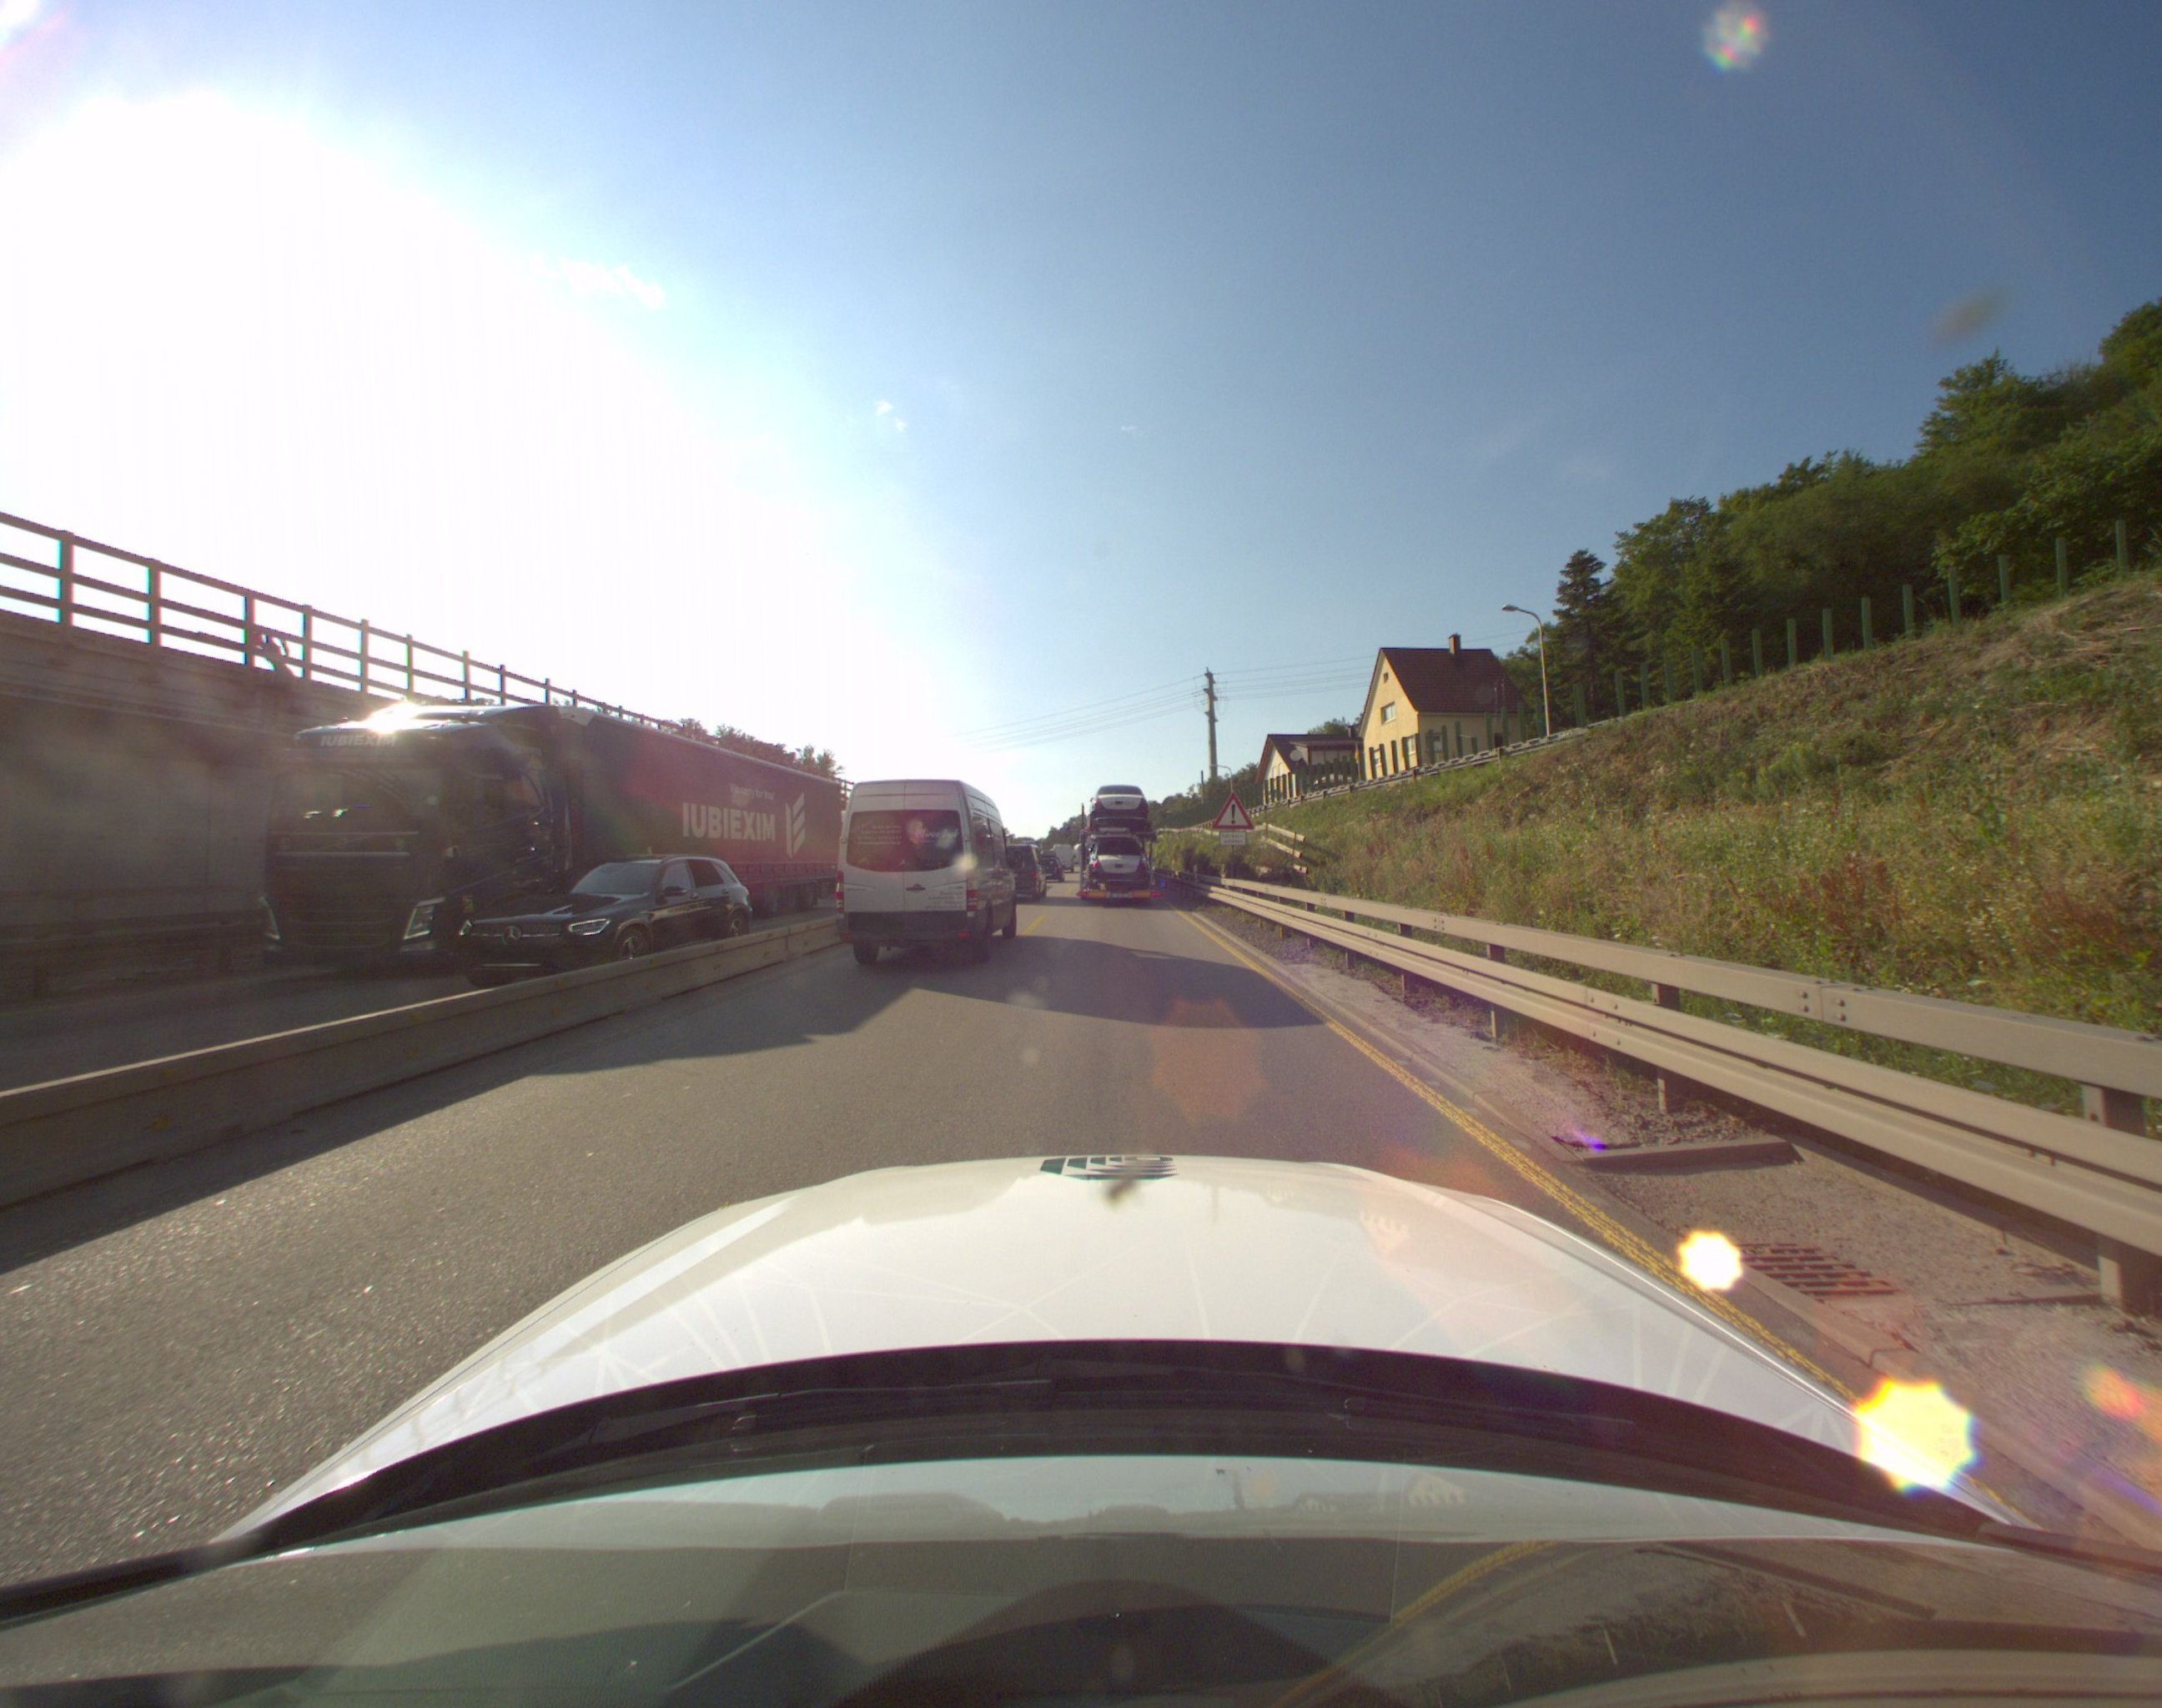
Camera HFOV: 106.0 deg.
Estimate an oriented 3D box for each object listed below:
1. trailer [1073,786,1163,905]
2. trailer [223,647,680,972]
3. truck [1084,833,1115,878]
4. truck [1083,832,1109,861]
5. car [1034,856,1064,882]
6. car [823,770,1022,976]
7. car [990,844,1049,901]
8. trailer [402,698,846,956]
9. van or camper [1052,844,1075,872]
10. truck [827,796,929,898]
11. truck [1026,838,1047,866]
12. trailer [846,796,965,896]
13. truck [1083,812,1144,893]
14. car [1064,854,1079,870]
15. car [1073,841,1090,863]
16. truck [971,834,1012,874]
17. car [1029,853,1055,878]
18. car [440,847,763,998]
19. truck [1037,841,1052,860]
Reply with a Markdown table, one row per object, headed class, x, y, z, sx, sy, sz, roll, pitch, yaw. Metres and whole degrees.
| class | x | y | z | sx | sy | sz | roll | pitch | yaw |
| --- | --- | --- | --- | --- | --- | --- | --- | --- | --- |
| trailer | 1.361 | -0.148 | 32.110 | 2.672 | 3.535 | 15.293 | -1 | -1 | 2 |
| trailer | -9.528 | -0.582 | 13.408 | 2.755 | 4.141 | 5.978 | 0 | 0 | 1 |
| truck | 1.891 | 0.177 | 87.862 | 2.899 | 4.606 | 7.281 | -1 | 0 | -2 |
| truck | 2.773 | -1.269 | 142.739 | 4.048 | 4.679 | 10.599 | -1 | 0 | 3 |
| car | -1.979 | 0.899 | 51.275 | 1.720 | 1.522 | 3.973 | 0 | 0 | 0 |
| car | -2.293 | 0.254 | 13.483 | 1.986 | 2.648 | 5.532 | -2 | 0 | 2 |
| car | -2.153 | 0.664 | 29.413 | 1.802 | 1.904 | 3.999 | 0 | -1 | 0 |
| trailer | -9.371 | -0.464 | 20.108 | 2.754 | 4.141 | 14.029 | 0 | 0 | 1 |
| van or camper | -1.629 | 0.441 | 77.656 | 1.961 | 2.592 | 5.042 | 0 | -1 | 1 |
| truck | -8.578 | -0.236 | 35.138 | 2.850 | 4.008 | 5.658 | 0 | -1 | 1 |
| truck | -7.083 | -0.237 | 129.874 | 2.616 | 4.112 | 9.625 | -4 | 0 | 0 |
| trailer | -8.457 | -0.239 | 41.595 | 2.903 | 4.240 | 13.769 | 0 | -1 | 1 |
| truck | 1.569 | -0.014 | 39.677 | 2.672 | 3.535 | 7.196 | -1 | -1 | 2 |
| car | -1.265 | 1.011 | 107.169 | 1.879 | 2.100 | 3.766 | -1 | 0 | 1 |
| car | 0.073 | -0.499 | 190.928 | 3.436 | 5.035 | 9.645 | -1 | 0 | -2 |
| truck | -8.344 | 0.087 | 77.128 | 2.706 | 3.424 | 8.140 | -4 | -1 | 0 |
| car | -4.109 | 1.259 | 86.171 | 2.463 | 2.534 | 4.000 | -1 | -1 | 1 |
| car | -6.205 | 0.796 | 11.336 | 1.635 | 1.645 | 4.689 | 0 | -1 | 1 |
| truck | -8.100 | -0.700 | 182.571 | 2.975 | 4.153 | 15.841 | -1 | 0 | -2 |
